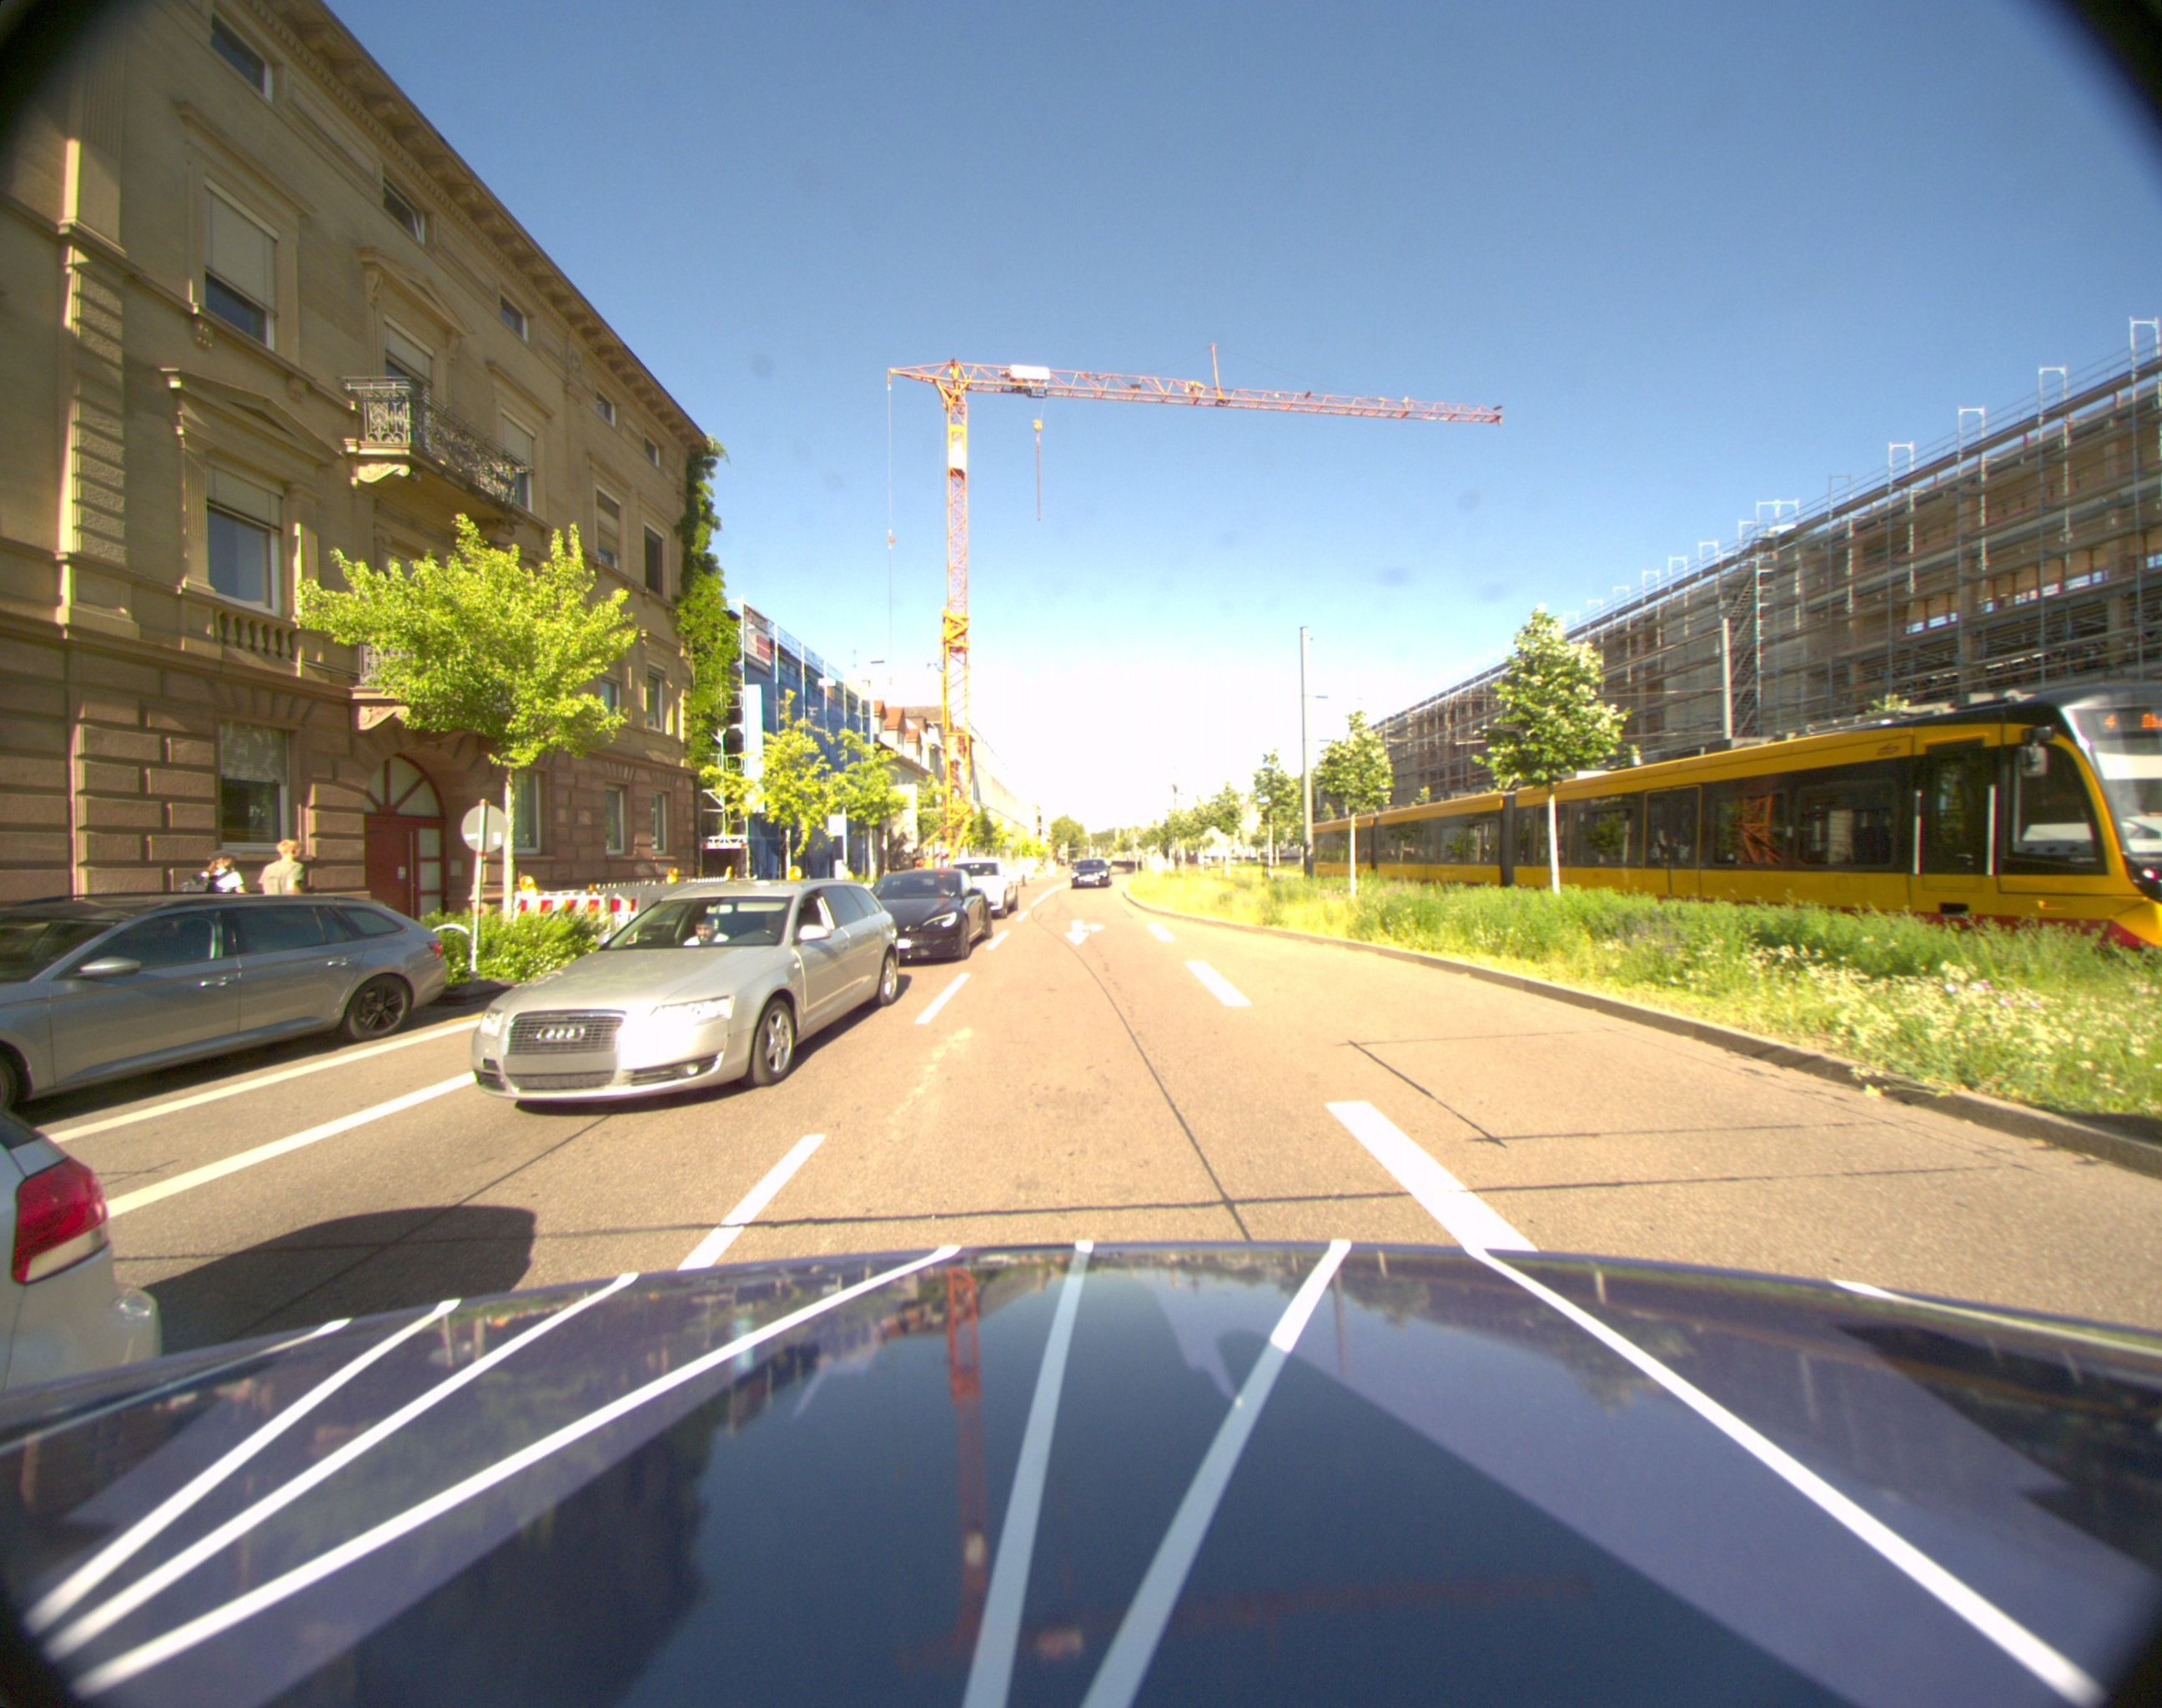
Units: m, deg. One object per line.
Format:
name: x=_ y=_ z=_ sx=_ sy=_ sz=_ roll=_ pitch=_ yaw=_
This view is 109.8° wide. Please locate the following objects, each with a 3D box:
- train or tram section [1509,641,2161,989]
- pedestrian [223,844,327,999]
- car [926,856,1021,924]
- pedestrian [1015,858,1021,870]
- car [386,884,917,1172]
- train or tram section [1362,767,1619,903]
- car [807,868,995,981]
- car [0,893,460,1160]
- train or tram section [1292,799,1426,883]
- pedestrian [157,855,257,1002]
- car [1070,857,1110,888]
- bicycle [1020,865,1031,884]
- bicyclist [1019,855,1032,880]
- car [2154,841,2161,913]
train or tram section: x=12.632 y=-0.434 z=14.205 sx=2.822 sy=3.617 sz=12.792 roll=-1 pitch=0 yaw=4
pedestrian: x=-10.299 y=0.834 z=9.724 sx=0.660 sy=1.902 sz=0.587 roll=2 pitch=0 yaw=0
car: x=-2.853 y=0.921 z=21.070 sx=1.934 sy=1.624 sz=4.000 roll=-2 pitch=0 yaw=1
pedestrian: x=-10.411 y=1.615 z=125.722 sx=0.877 sy=1.913 sz=0.895 roll=1 pitch=2 yaw=0
car: x=-2.972 y=1.088 z=6.731 sx=1.752 sy=1.419 sz=4.839 roll=-2 pitch=0 yaw=2
train or tram section: x=13.434 y=-0.528 z=26.945 sx=2.822 sy=3.617 sz=12.791 roll=-1 pitch=0 yaw=3
car: x=-2.790 y=1.030 z=12.965 sx=2.056 sy=1.435 sz=4.524 roll=-2 pitch=0 yaw=0
car: x=-7.639 y=1.183 z=5.965 sx=1.652 sy=1.467 sz=4.700 roll=2 pitch=0 yaw=0
train or tram section: x=13.965 y=-0.586 z=39.748 sx=2.822 sy=3.617 sz=12.791 roll=-1 pitch=0 yaw=2
pedestrian: x=-11.199 y=0.925 z=9.749 sx=0.564 sy=1.810 sz=0.587 roll=2 pitch=0 yaw=0
car: x=0.521 y=0.911 z=39.152 sx=1.927 sy=1.435 sz=4.178 roll=-1 pitch=0 yaw=3
bicycle: x=-3.381 y=1.226 z=46.274 sx=0.610 sy=1.144 sz=1.986 roll=-1 pitch=0 yaw=-5
bicyclist: x=-3.375 y=0.811 z=46.255 sx=0.755 sy=1.454 sz=0.587 roll=-2 pitch=1 yaw=-5
car: x=27.817 y=0.545 z=16.709 sx=1.999 sy=1.782 sz=4.526 roll=-1 pitch=0 yaw=-2
